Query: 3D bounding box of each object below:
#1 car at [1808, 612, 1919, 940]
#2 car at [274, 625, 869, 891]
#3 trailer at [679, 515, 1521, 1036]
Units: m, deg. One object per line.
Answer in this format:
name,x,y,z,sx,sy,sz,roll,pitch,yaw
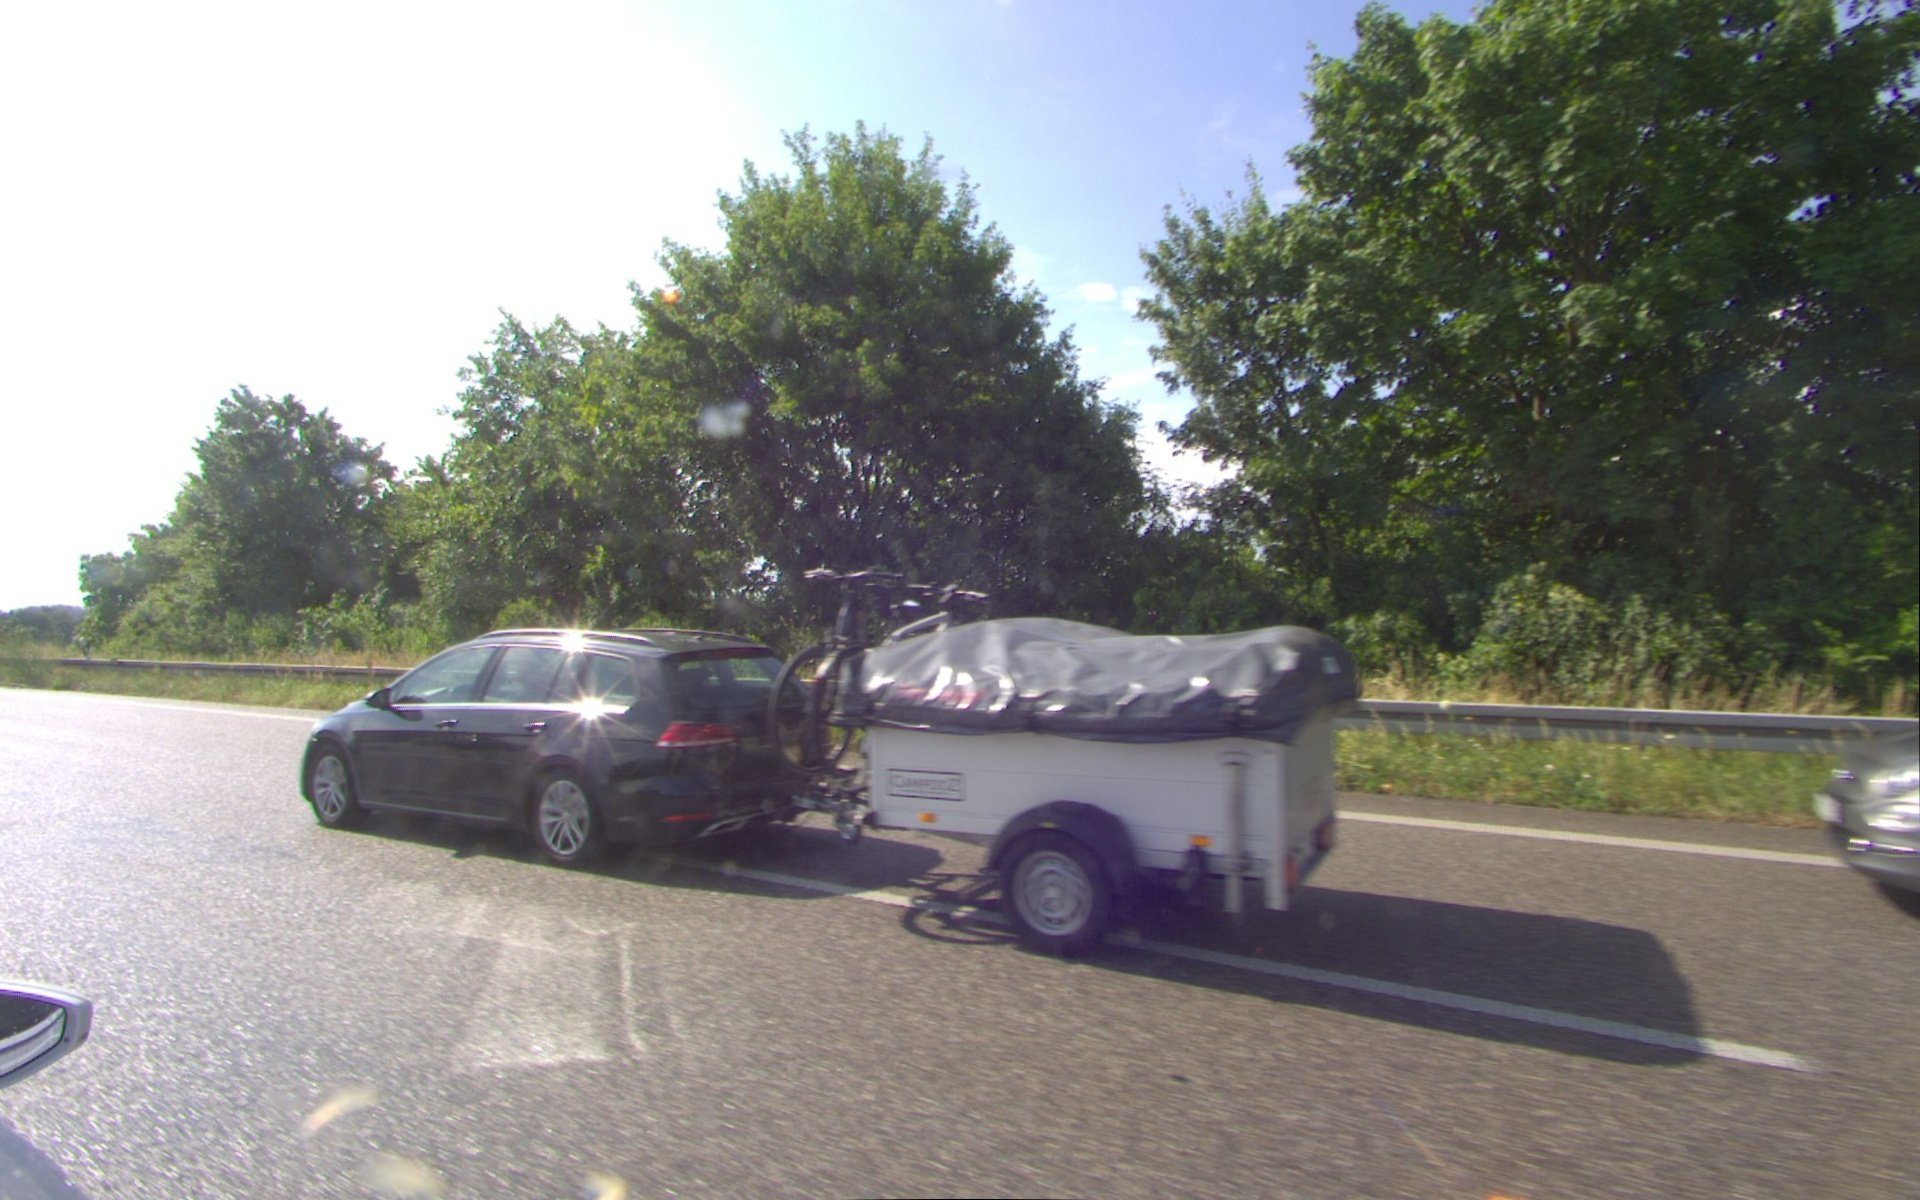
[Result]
car,6.167,0.800,4.453,3.431,1.508,1.609,-1,-1,32
car,-2.939,0.916,7.321,4.339,1.449,1.741,-1,-1,30
trailer,0.641,0.653,5.169,3.908,1.768,1.804,-1,-2,30
